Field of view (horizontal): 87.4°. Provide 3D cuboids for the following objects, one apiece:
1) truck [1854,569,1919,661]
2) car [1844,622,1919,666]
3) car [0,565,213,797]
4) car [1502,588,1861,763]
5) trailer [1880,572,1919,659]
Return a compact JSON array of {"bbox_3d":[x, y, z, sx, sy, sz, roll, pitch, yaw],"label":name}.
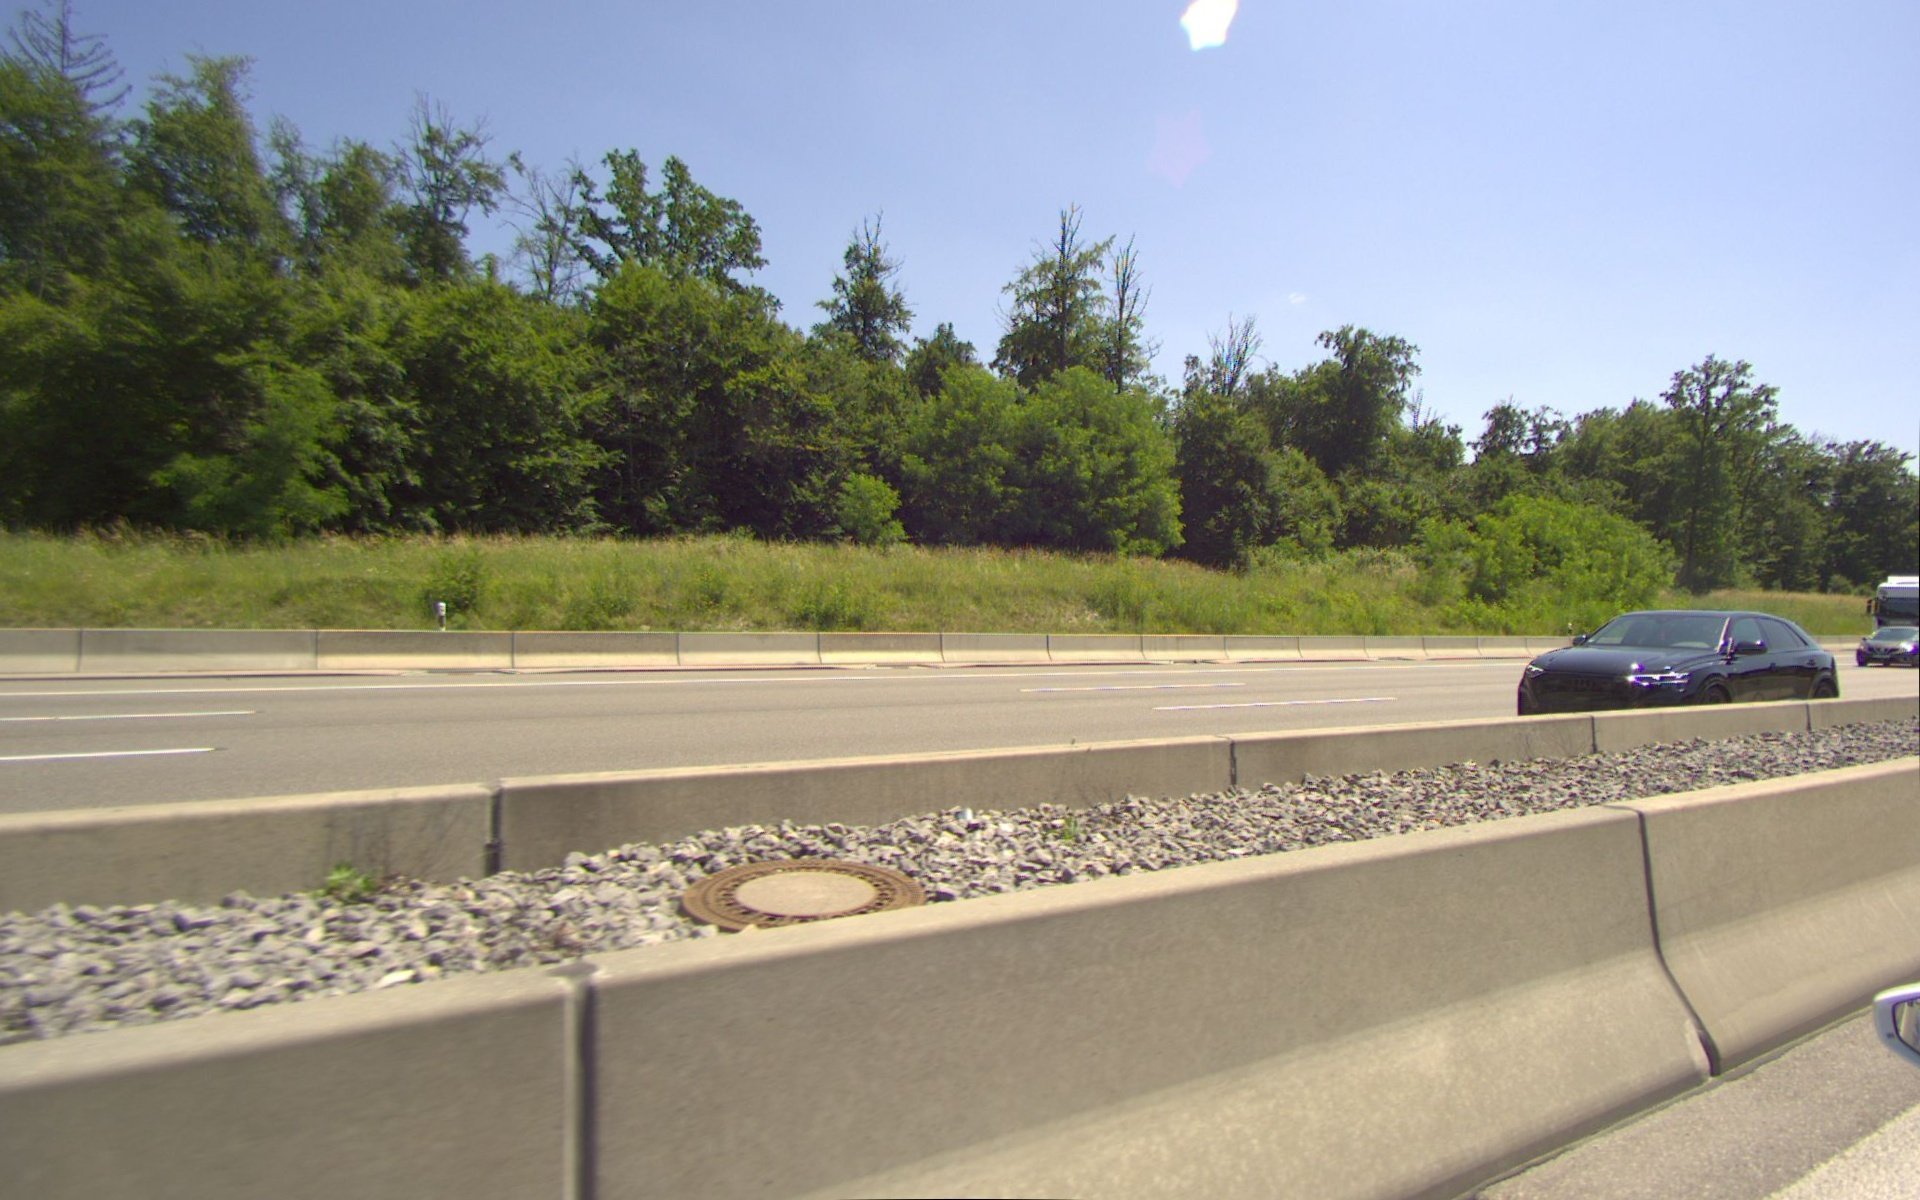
[{"bbox_3d":[48.490,0.804,50.921,6.386,4.430,3.025,2,0,-33],"label":"truck"},{"bbox_3d":[35.657,1.640,37.947,4.741,1.516,1.984,1,-1,-30],"label":"car"},{"bbox_3d":[-8.111,0.490,6.828,4.647,1.564,1.825,2,0,-31],"label":"car"},{"bbox_3d":[9.180,0.859,12.671,4.925,1.854,1.819,1,-1,-30],"label":"car"},{"bbox_3d":[54.835,1.012,55.034,14.123,4.418,3.014,2,0,-33],"label":"trailer"}]
